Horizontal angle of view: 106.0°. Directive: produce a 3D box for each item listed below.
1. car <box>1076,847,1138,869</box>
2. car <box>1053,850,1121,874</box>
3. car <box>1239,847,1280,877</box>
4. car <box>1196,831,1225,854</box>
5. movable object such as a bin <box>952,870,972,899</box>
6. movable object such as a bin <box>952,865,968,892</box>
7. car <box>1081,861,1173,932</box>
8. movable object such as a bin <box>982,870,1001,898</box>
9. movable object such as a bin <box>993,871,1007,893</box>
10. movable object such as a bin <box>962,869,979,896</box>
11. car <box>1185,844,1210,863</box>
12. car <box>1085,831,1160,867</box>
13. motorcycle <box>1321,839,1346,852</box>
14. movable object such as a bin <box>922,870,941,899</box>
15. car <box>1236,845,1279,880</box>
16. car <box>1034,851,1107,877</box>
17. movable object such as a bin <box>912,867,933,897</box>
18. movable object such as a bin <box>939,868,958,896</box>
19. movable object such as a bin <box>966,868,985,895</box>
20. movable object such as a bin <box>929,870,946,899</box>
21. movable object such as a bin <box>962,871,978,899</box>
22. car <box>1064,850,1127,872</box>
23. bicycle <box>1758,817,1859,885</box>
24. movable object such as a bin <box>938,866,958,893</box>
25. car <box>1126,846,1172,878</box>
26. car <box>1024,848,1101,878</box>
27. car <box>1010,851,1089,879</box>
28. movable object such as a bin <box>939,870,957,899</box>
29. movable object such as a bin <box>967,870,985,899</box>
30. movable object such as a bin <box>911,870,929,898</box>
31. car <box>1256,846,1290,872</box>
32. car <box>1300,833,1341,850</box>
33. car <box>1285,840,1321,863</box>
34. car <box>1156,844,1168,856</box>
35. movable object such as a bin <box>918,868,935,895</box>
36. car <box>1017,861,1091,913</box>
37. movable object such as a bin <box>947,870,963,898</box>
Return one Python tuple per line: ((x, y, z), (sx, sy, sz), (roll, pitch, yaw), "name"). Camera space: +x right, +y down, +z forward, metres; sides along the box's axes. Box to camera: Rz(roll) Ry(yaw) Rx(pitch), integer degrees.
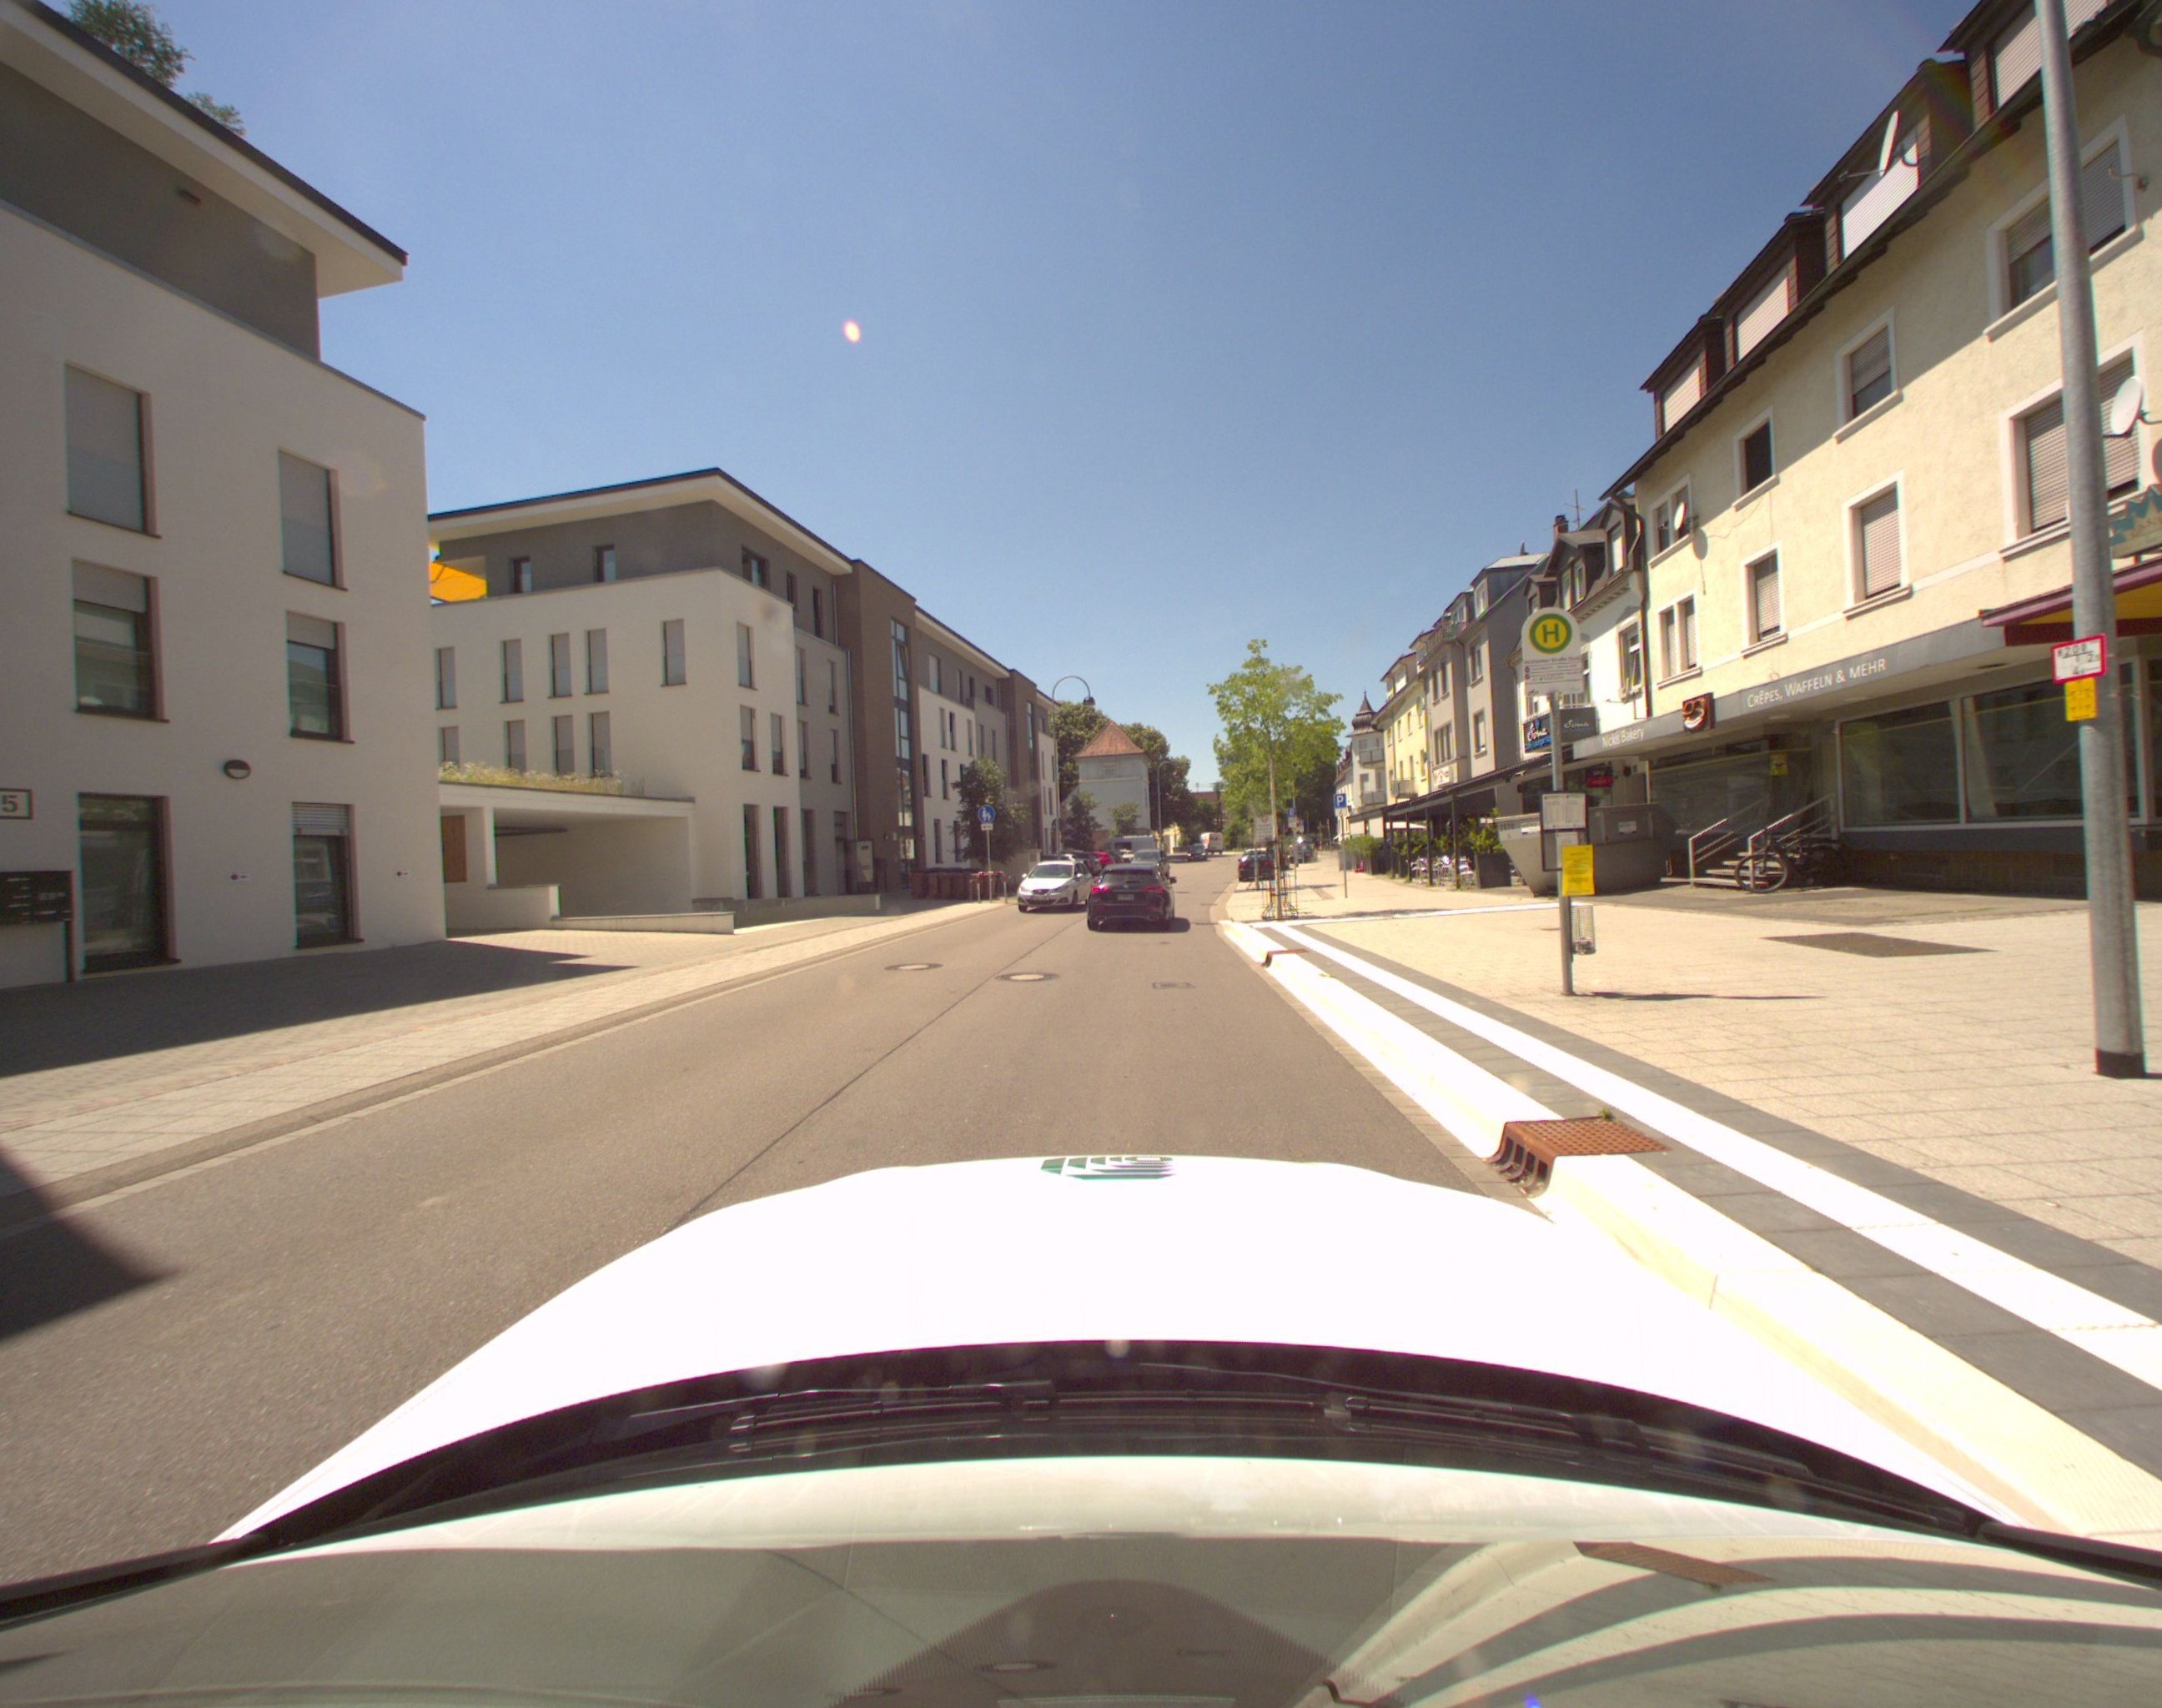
((2.014, 0.276, 61.997), (4.423, 1.591, 2.007), (-1, 0, 12), "car")
((0.417, 0.516, 52.458), (4.003, 1.430, 2.008), (-1, 0, 14), "car")
((10.034, 0.424, 45.587), (1.723, 1.486, 4.073), (-5, -1, 18), "car")
((15.534, -1.401, 98.319), (2.125, 2.630, 5.266), (-1, 0, -6), "car")
((-4.285, 1.091, 29.326), (0.480, 0.998, 0.590), (-2, 0, 11), "movable object such as a bin")
((-4.874, 0.996, 32.917), (0.574, 1.039, 0.549), (-2, 0, -5), "movable object such as a bin")
((1.161, 0.882, 18.729), (1.818, 1.442, 4.008), (0, 0, 7), "car")
((-3.267, 1.098, 29.759), (0.480, 0.998, 0.590), (-2, 0, 11), "movable object such as a bin")
((-3.292, 1.134, 33.179), (0.553, 0.867, 0.481), (-2, 0, -5), "movable object such as a bin")
((-4.271, 1.096, 31.361), (0.552, 0.998, 0.404), (-3, 0, -1), "movable object such as a bin")
((11.033, -0.062, 76.877), (1.797, 1.701, 4.093), (-2, 0, 16), "car")
((3.432, -0.412, 66.639), (5.727, 2.732, 2.300), (-1, 0, 13), "car")
((26.006, -0.845, 83.782), (2.361, 1.275, 0.859), (-2, 1, 12), "motorcycle")
((-5.367, 1.107, 29.288), (0.480, 0.998, 0.528), (-2, 0, 10), "movable object such as a bin")
((8.613, 0.386, 39.572), (1.819, 1.482, 4.111), (-5, -1, 14), "car")
((-0.622, 0.610, 49.880), (4.003, 1.496, 2.008), (-1, 0, 14), "car")
((-6.110, 1.063, 31.416), (0.691, 1.095, 0.646), (-2, 0, -5), "movable object such as a bin")
((-5.147, 1.082, 31.612), (0.619, 1.039, 0.581), (-2, 0, -5), "movable object such as a bin")
((-4.158, 1.074, 32.151), (0.551, 1.020, 0.561), (-2, 0, 8), "movable object such as a bin")
((-5.256, 1.112, 29.902), (0.400, 0.998, 0.557), (-2, 0, 11), "movable object such as a bin")
((-4.055, 1.121, 29.799), (0.400, 0.998, 0.557), (-2, 0, 11), "movable object such as a bin")
((1.038, 0.493, 56.637), (4.176, 1.437, 1.890), (-1, 0, 8), "car")
((12.968, -0.045, 14.548), (1.259, 1.184, 0.417), (-1, -1, 20), "bicycle")
((-5.265, 0.998, 32.245), (0.674, 1.039, 0.603), (-2, 0, -5), "movable object such as a bin")
((3.807, 0.432, 44.990), (1.929, 1.658, 4.250), (-1, 0, 12), "car")
((-1.023, 0.508, 47.079), (4.003, 1.651, 2.008), (-1, 0, 14), "car")
((-1.705, 0.612, 44.639), (3.959, 1.421, 1.917), (-1, 0, 13), "car")
((-4.804, 1.099, 29.477), (0.421, 0.998, 0.525), (-2, 0, 12), "movable object such as a bin")
((-3.758, 1.084, 29.138), (0.480, 0.998, 0.589), (-2, 0, 5), "movable object such as a bin")
((-5.918, 1.101, 29.926), (0.480, 0.998, 0.589), (-2, 0, 5), "movable object such as a bin")
((12.219, 0.288, 51.695), (1.711, 1.405, 4.629), (-4, 0, 17), "car")
((25.621, -1.349, 87.354), (4.049, 1.716, 1.862), (-1, 0, 10), "car")
((16.956, -0.202, 62.035), (1.854, 1.491, 3.885), (-4, 1, 26), "car")
((13.568, -0.695, 136.957), (1.984, 2.014, 4.005), (-1, 0, 4), "car")
((-6.139, 1.081, 32.362), (0.553, 1.039, 0.481), (-2, 0, -5), "movable object such as a bin")
((-0.737, 0.924, 24.597), (1.658, 1.396, 3.855), (0, 0, 7), "car")
((-4.638, 1.108, 30.031), (0.400, 0.998, 0.557), (-2, 0, 11), "movable object such as a bin")
